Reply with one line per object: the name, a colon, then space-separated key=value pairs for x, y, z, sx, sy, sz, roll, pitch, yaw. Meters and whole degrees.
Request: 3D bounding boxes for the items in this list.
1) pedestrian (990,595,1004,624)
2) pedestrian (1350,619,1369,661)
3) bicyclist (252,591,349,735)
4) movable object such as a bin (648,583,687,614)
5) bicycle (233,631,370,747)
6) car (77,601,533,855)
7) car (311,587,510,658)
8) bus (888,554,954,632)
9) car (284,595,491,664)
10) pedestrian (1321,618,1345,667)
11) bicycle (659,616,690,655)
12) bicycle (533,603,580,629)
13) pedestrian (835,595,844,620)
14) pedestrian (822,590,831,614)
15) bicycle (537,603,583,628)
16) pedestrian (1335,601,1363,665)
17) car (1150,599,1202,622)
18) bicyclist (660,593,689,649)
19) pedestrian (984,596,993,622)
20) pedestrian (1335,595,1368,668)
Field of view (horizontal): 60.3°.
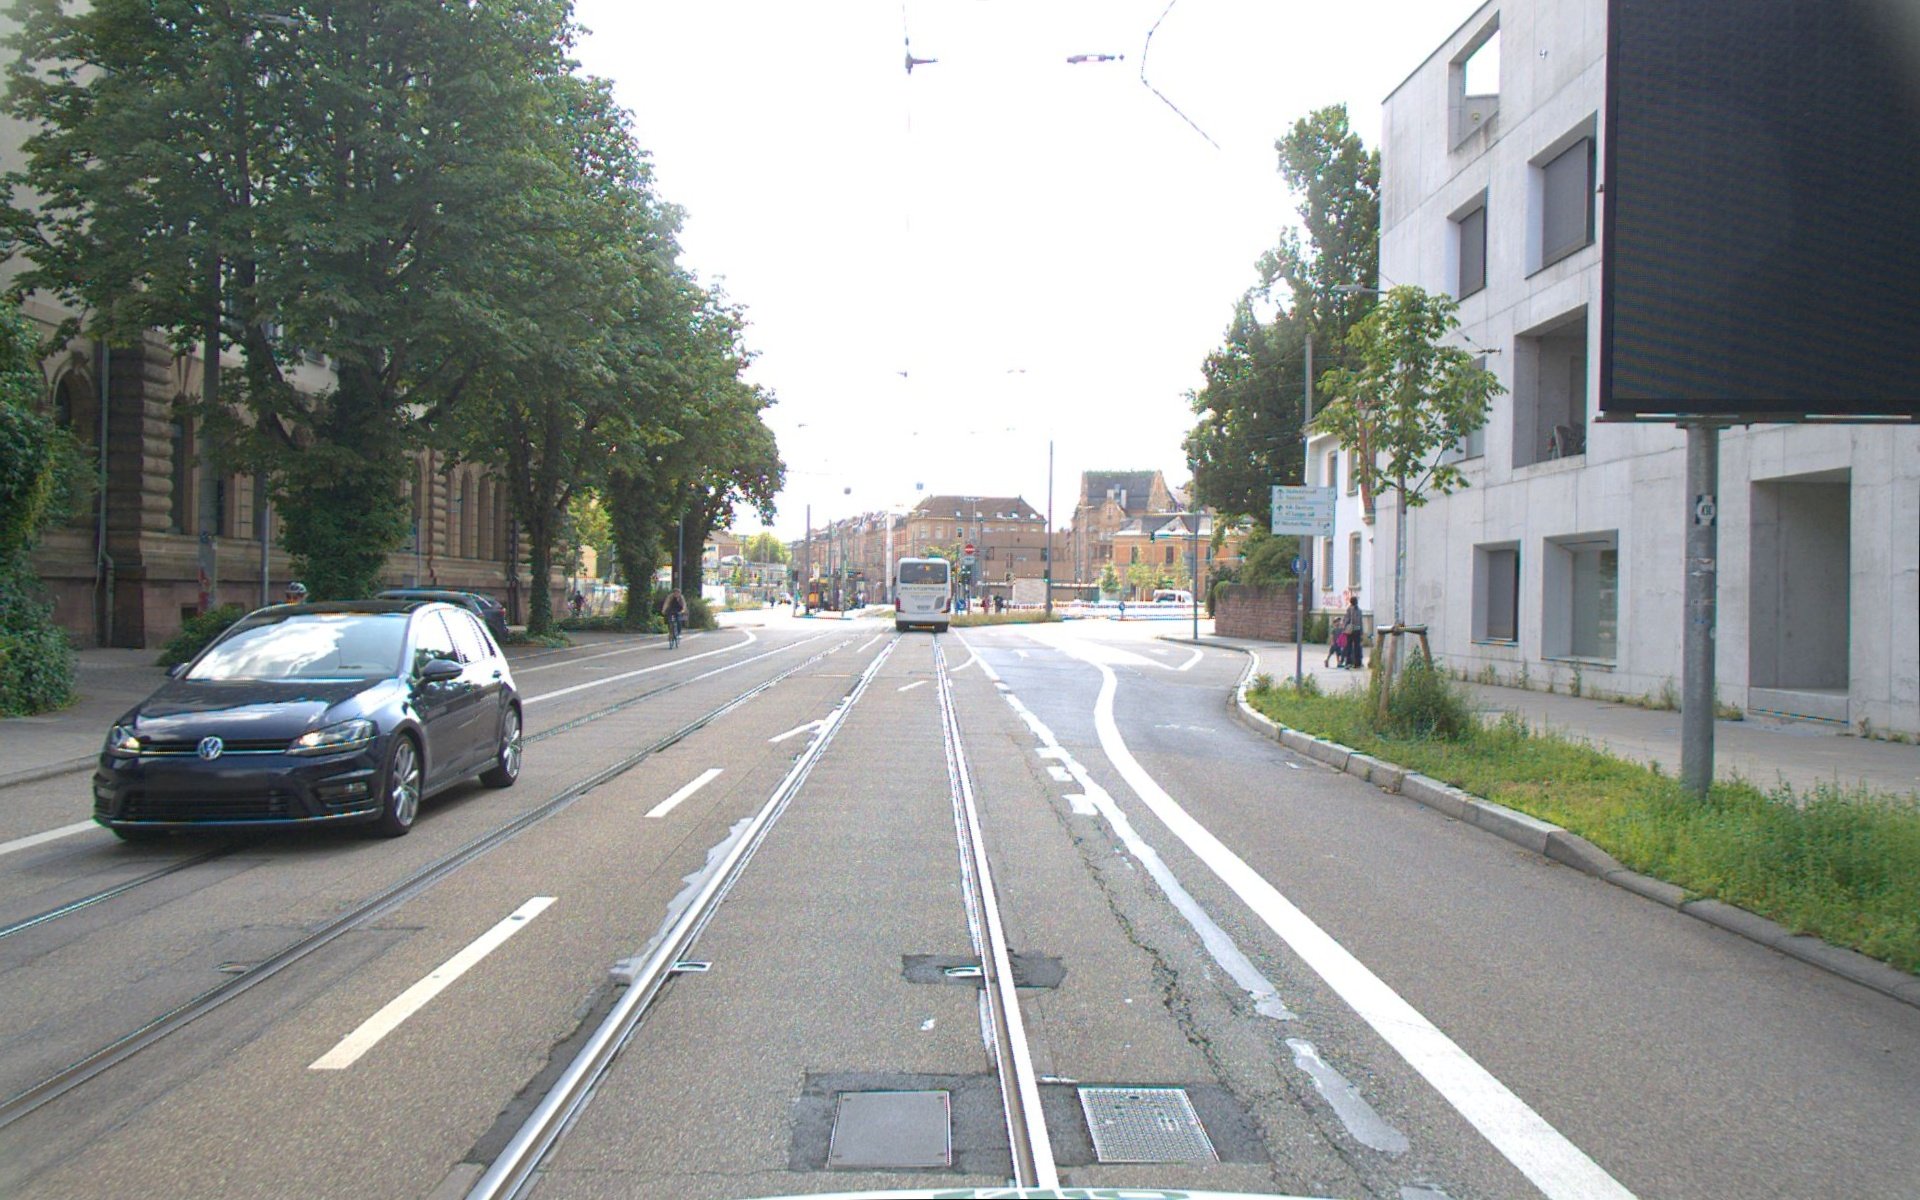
pedestrian: x=2.553 y=0.647 z=113.507 sx=0.600 sy=1.918 sz=0.792 roll=0 pitch=0 yaw=32
pedestrian: x=10.132 y=1.006 z=41.952 sx=0.336 sy=1.028 sz=0.396 roll=-1 pitch=1 yaw=-10
bicyclist: x=-7.323 y=0.682 z=18.399 sx=0.587 sy=1.518 sz=0.882 roll=-5 pitch=0 yaw=1
movable object such as a bin: x=-25.563 y=-0.093 z=144.790 sx=2.587 sy=2.619 sz=4.000 roll=1 pitch=0 yaw=1
bicycle: x=-7.299 y=0.957 z=18.439 sx=0.590 sy=1.116 sz=2.023 roll=-5 pitch=0 yaw=1
car: x=-4.209 y=0.723 z=11.322 sx=1.654 sy=1.426 sz=3.929 roll=0 pitch=0 yaw=-2
car: x=-13.182 y=0.552 z=39.741 sx=4.187 sy=1.577 sz=1.906 roll=2 pitch=0 yaw=-33
bus: x=-1.934 y=-0.266 z=79.853 sx=2.859 sy=3.386 sz=12.201 roll=2 pitch=0 yaw=-2
car: x=-12.854 y=0.638 z=37.171 sx=4.180 sy=1.472 sz=1.777 roll=1 pitch=0 yaw=-29
pedestrian: x=9.526 y=1.082 z=42.243 sx=0.417 sy=1.221 sz=0.401 roll=-2 pitch=1 yaw=-34
bicycle: x=-7.987 y=0.978 z=46.296 sx=0.685 sy=1.035 sz=1.818 roll=-1 pitch=0 yaw=-5
bicycle: x=-19.623 y=0.766 z=80.458 sx=2.072 sy=1.188 sz=0.730 roll=2 pitch=-1 yaw=-3
pedestrian: x=-9.108 y=0.558 z=124.882 sx=0.598 sy=1.918 sz=0.793 roll=0 pitch=0 yaw=-1
pedestrian: x=-10.478 y=0.150 z=129.584 sx=0.598 sy=1.918 sz=0.794 roll=0 pitch=0 yaw=-1
bicycle: x=-19.720 y=0.772 z=81.654 sx=2.072 sy=1.188 sz=0.730 roll=2 pitch=-1 yaw=-3
pedestrian: x=10.032 y=0.840 z=42.652 sx=0.510 sy=1.608 sz=0.547 roll=-1 pitch=1 yaw=-11
car: x=22.748 y=1.102 z=174.221 sx=2.277 sy=2.359 sz=5.515 roll=1 pitch=-1 yaw=-37
bicyclist: x=-7.987 y=0.571 z=46.275 sx=0.677 sy=1.546 sz=0.867 roll=-1 pitch=0 yaw=-5
pedestrian: x=1.944 y=0.599 z=112.826 sx=0.401 sy=1.766 sz=0.620 roll=0 pitch=0 yaw=31
pedestrian: x=9.739 y=0.778 z=41.141 sx=0.670 sy=1.754 sz=0.747 roll=-1 pitch=1 yaw=4
